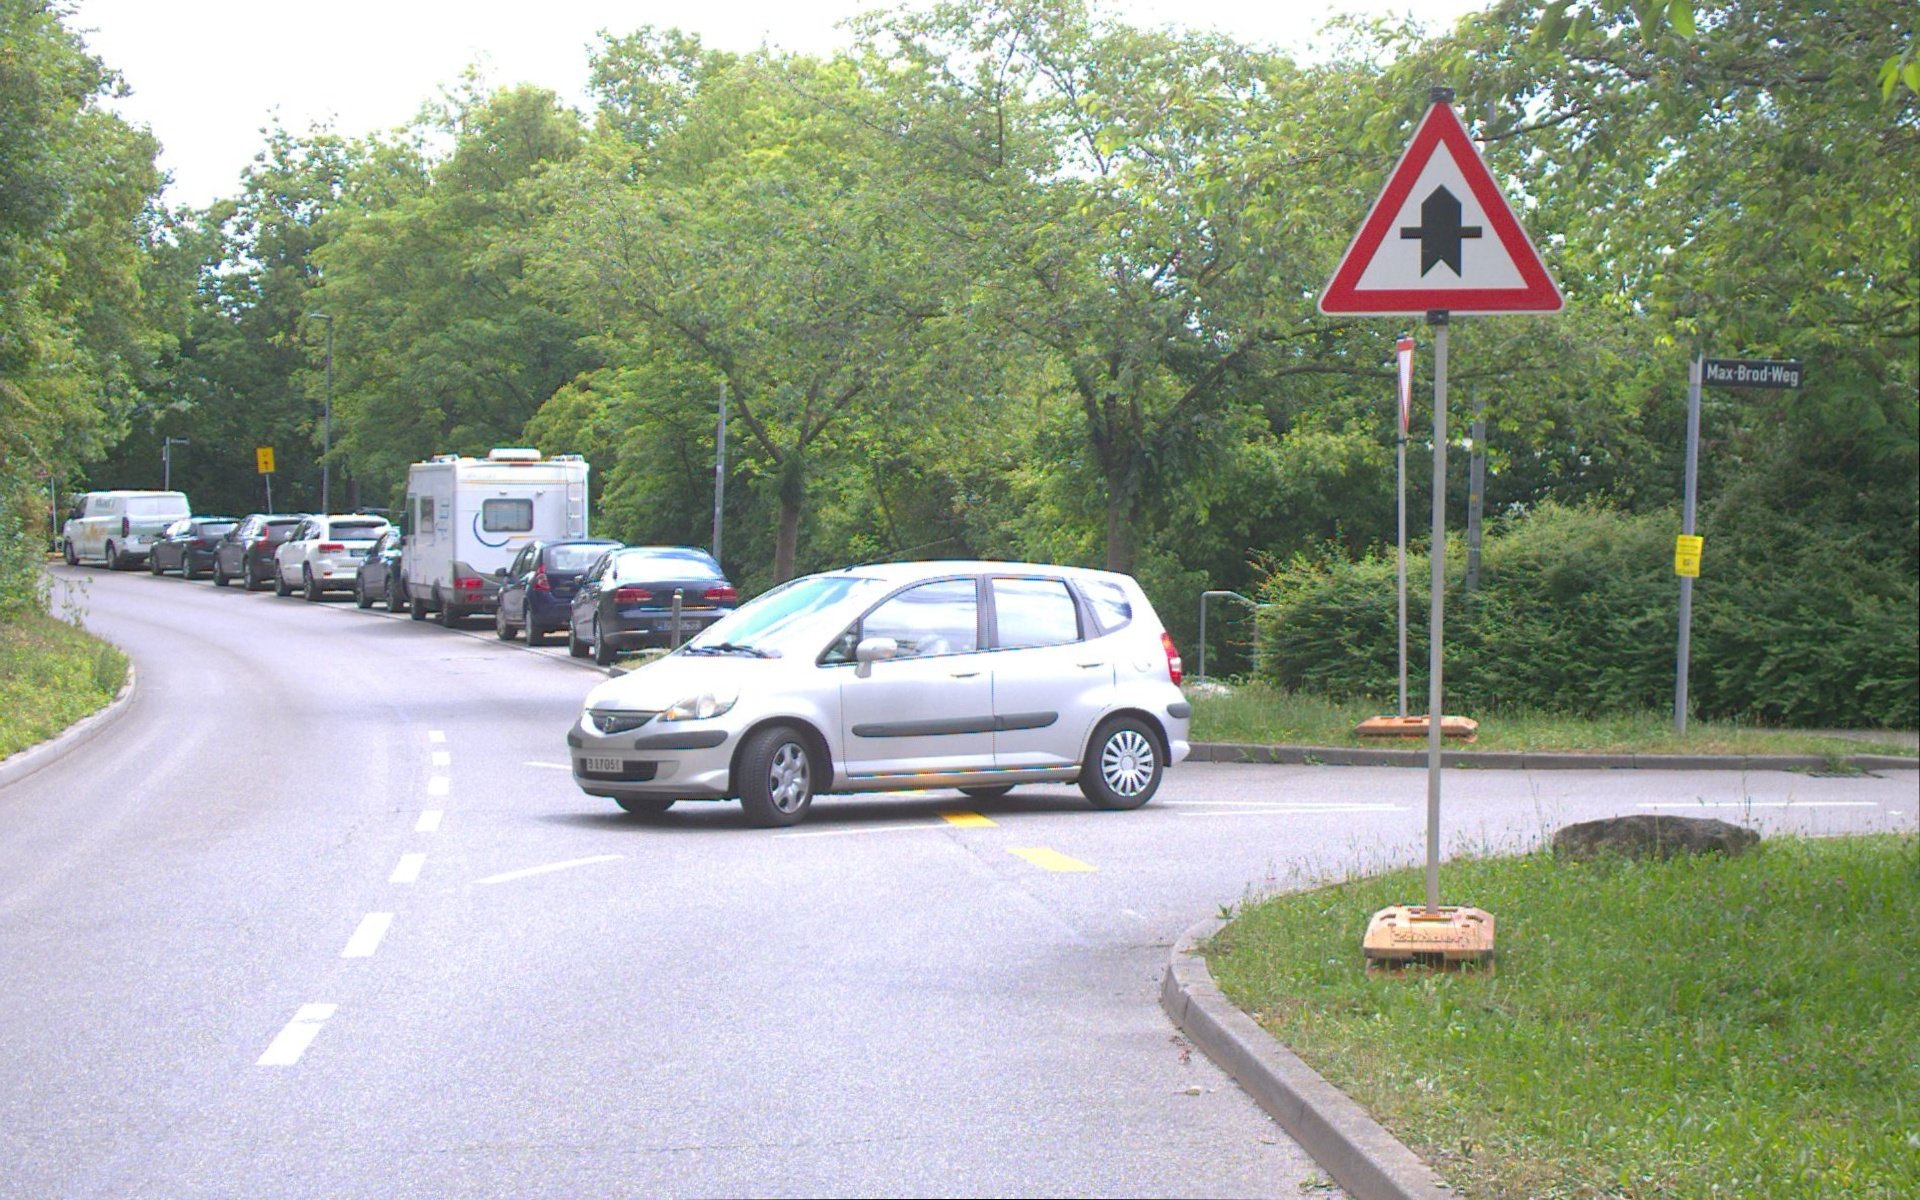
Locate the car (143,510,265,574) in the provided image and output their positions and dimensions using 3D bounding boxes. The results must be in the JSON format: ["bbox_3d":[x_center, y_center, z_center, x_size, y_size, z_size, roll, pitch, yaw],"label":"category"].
[{"bbox_3d":[-18.161,-1.411,82.452,1.797,1.459,4.001,-1,2,-29],"label":"car"}]

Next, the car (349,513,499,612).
[{"bbox_3d":[-10.043,-0.736,64.177,1.710,1.585,4.001,-8,4,-22],"label":"car"}]

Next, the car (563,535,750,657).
[{"bbox_3d":[-3.939,-0.087,44.049,1.775,1.429,4.335,-1,2,-13],"label":"car"}]

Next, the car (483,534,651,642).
[{"bbox_3d":[-5.872,-0.183,51.009,1.728,1.514,3.890,-1,1,-18],"label":"car"}]

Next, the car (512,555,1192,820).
[{"bbox_3d":[-0.623,0.488,20.639,3.641,1.451,1.847,1,0,-34],"label":"car"}]

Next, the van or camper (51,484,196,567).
[{"bbox_3d":[-21.311,-1.932,87.452,1.994,1.913,5.266,-2,4,-32],"label":"van or camper"}]

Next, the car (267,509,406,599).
[{"bbox_3d":[-12.840,-0.970,70.629,1.871,1.683,4.581,1,2,-22],"label":"car"}]

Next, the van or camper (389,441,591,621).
[{"bbox_3d":[-8.057,-1.196,58.401,2.332,2.859,6.152,1,1,-18],"label":"van or camper"}]

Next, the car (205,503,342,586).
[{"bbox_3d":[-15.229,-1.249,76.117,1.993,1.620,4.279,-3,4,-25],"label":"car"}]
